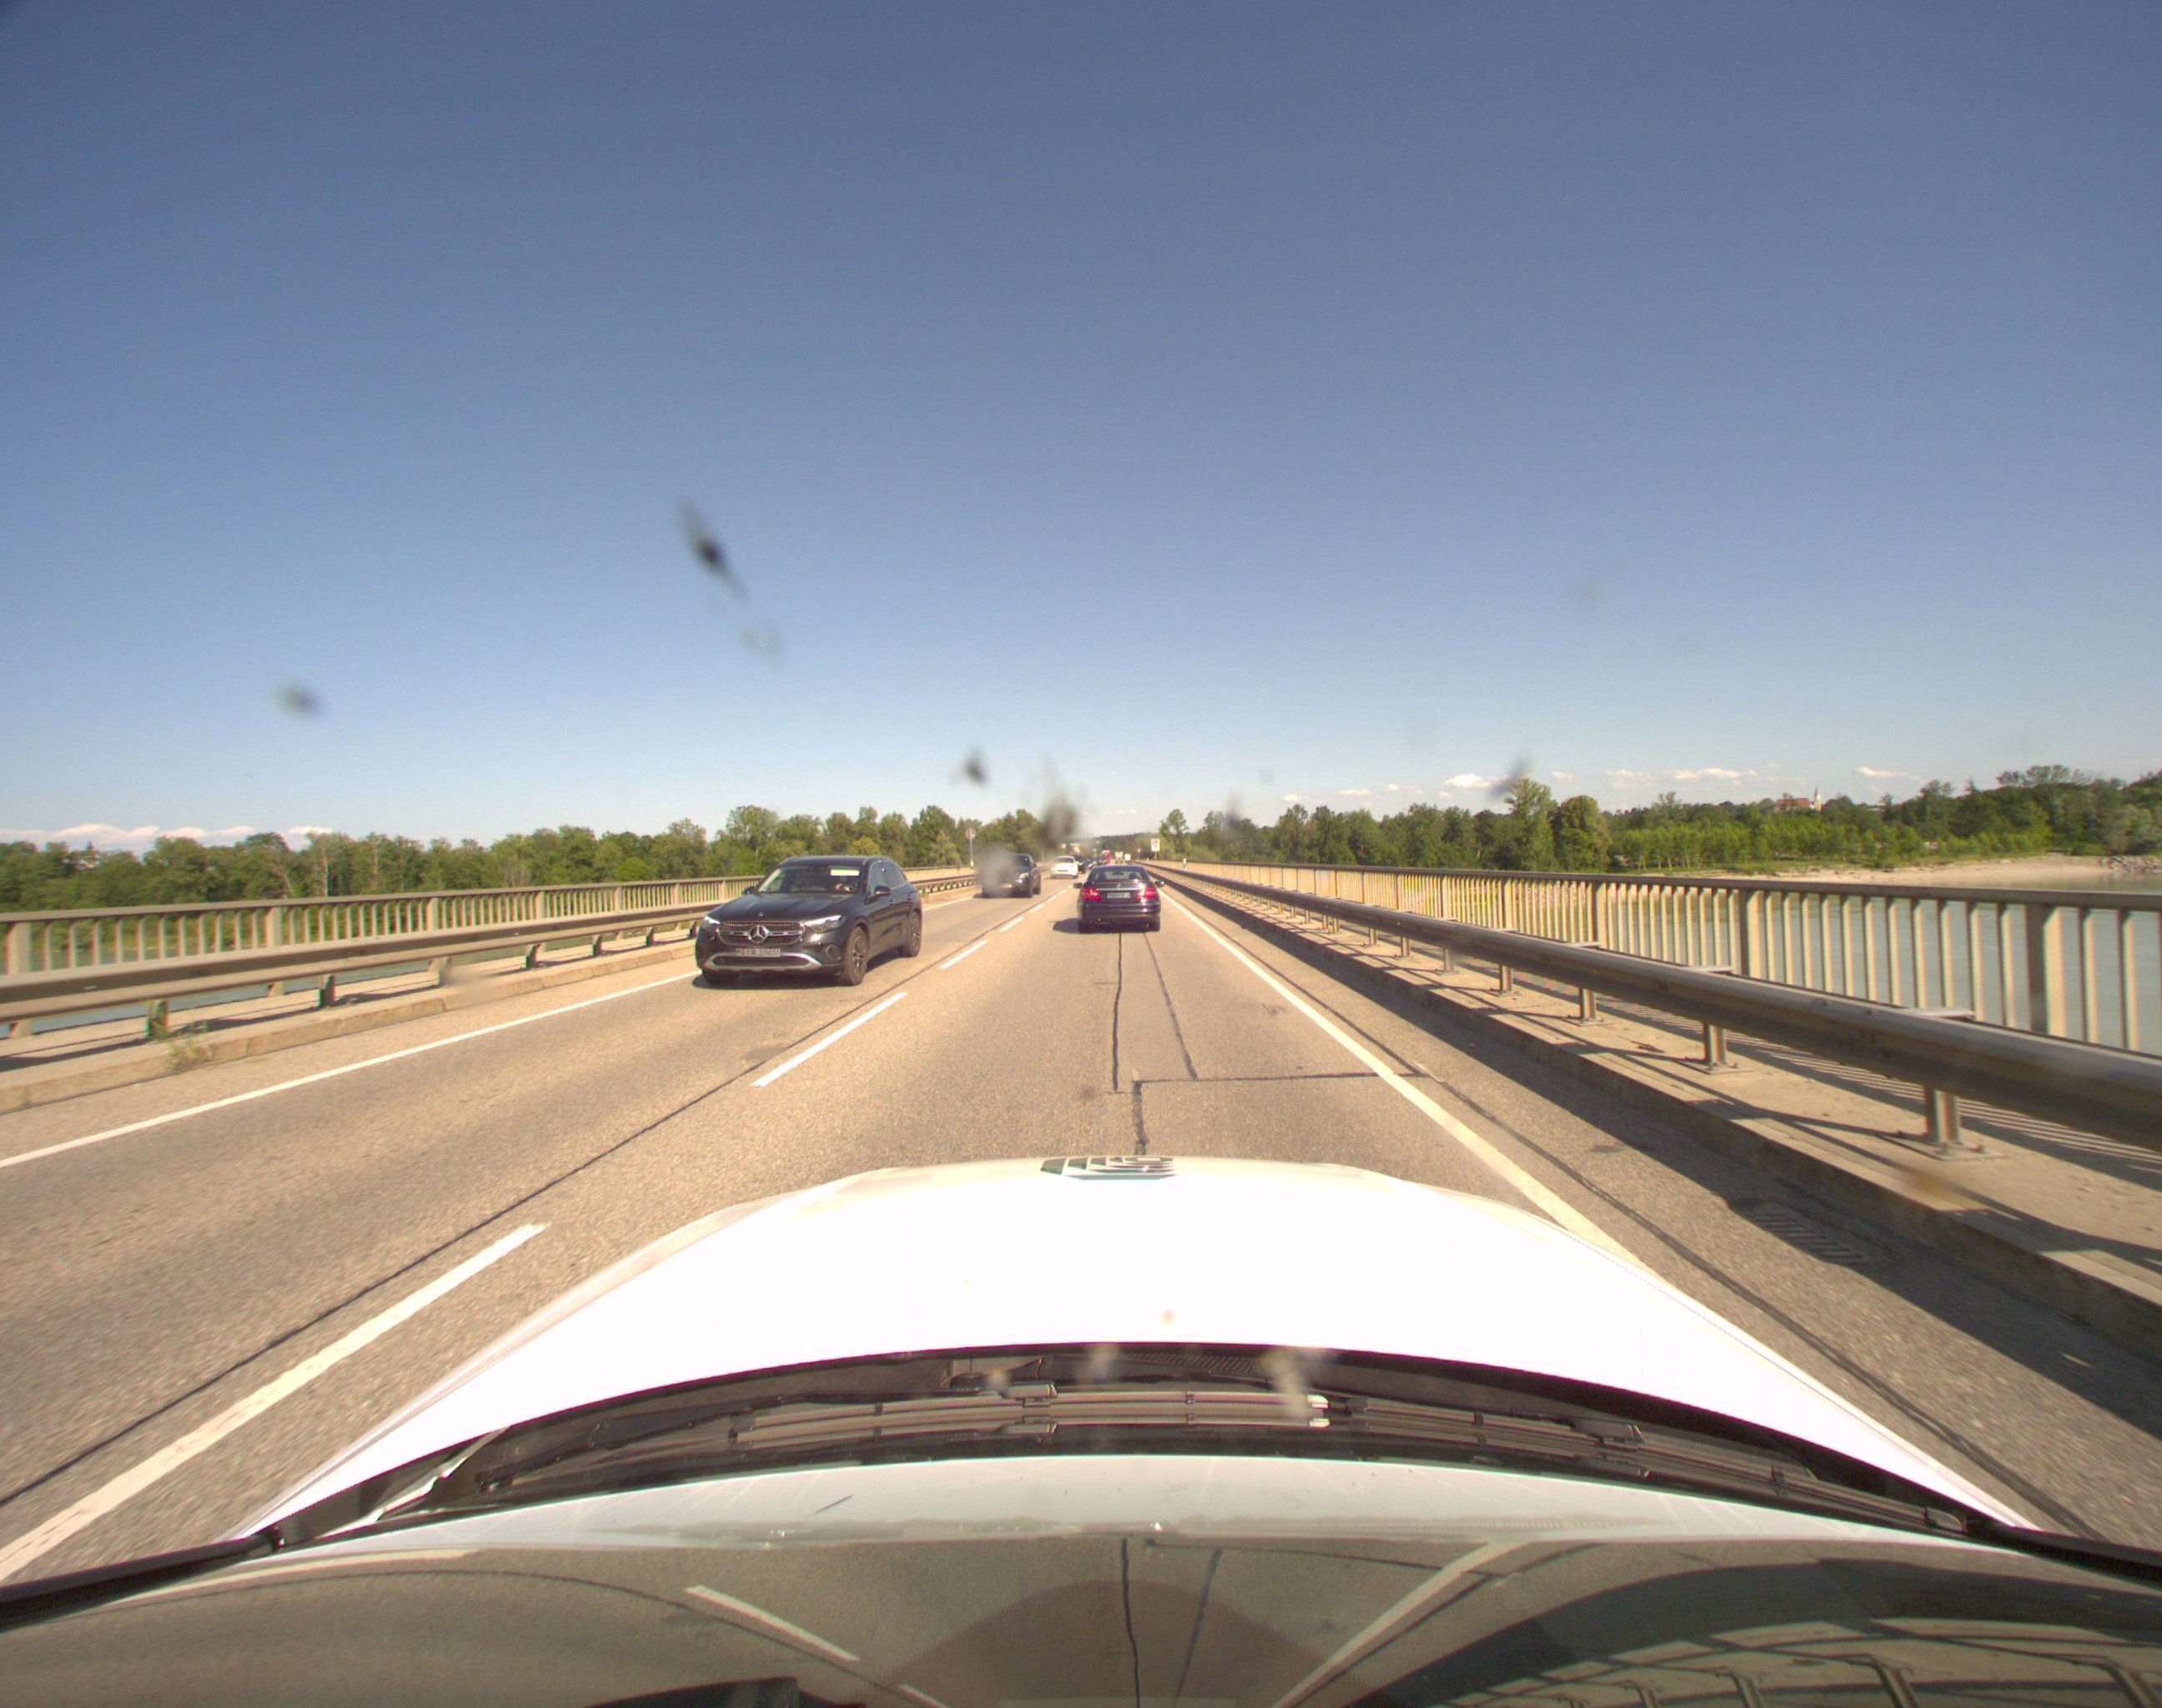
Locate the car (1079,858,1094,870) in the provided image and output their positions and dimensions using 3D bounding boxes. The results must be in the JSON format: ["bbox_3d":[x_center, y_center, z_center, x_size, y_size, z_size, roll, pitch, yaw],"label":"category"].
[{"bbox_3d":[0.677,1.183,97.793,1.760,1.447,4.455,0,0,-1],"label":"car"}]

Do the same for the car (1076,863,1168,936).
[{"bbox_3d":[0.904,0.909,17.893,1.786,1.376,4.003,0,0,3],"label":"car"}]

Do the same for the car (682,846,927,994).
[{"bbox_3d":[-3.561,0.754,11.452,1.796,1.661,4.435,-1,0,2],"label":"car"}]

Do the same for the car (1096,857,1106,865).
[{"bbox_3d":[4.025,1.397,164.102,1.801,1.577,4.199,-1,0,-1],"label":"car"}]

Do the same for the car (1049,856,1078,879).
[{"bbox_3d":[-1.265,0.986,60.905,1.976,1.651,4.598,-1,0,1],"label":"car"}]

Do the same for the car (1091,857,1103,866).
[{"bbox_3d":[2.833,1.315,147.529,2.047,1.652,4.719,1,0,-1],"label":"car"}]

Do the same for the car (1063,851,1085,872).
[{"bbox_3d":[-0.680,0.722,80.558,2.031,1.873,5.068,5,0,0],"label":"car"}]

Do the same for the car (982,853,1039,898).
[{"bbox_3d":[-2.778,0.818,32.953,1.943,1.694,4.475,0,0,0],"label":"car"}]
